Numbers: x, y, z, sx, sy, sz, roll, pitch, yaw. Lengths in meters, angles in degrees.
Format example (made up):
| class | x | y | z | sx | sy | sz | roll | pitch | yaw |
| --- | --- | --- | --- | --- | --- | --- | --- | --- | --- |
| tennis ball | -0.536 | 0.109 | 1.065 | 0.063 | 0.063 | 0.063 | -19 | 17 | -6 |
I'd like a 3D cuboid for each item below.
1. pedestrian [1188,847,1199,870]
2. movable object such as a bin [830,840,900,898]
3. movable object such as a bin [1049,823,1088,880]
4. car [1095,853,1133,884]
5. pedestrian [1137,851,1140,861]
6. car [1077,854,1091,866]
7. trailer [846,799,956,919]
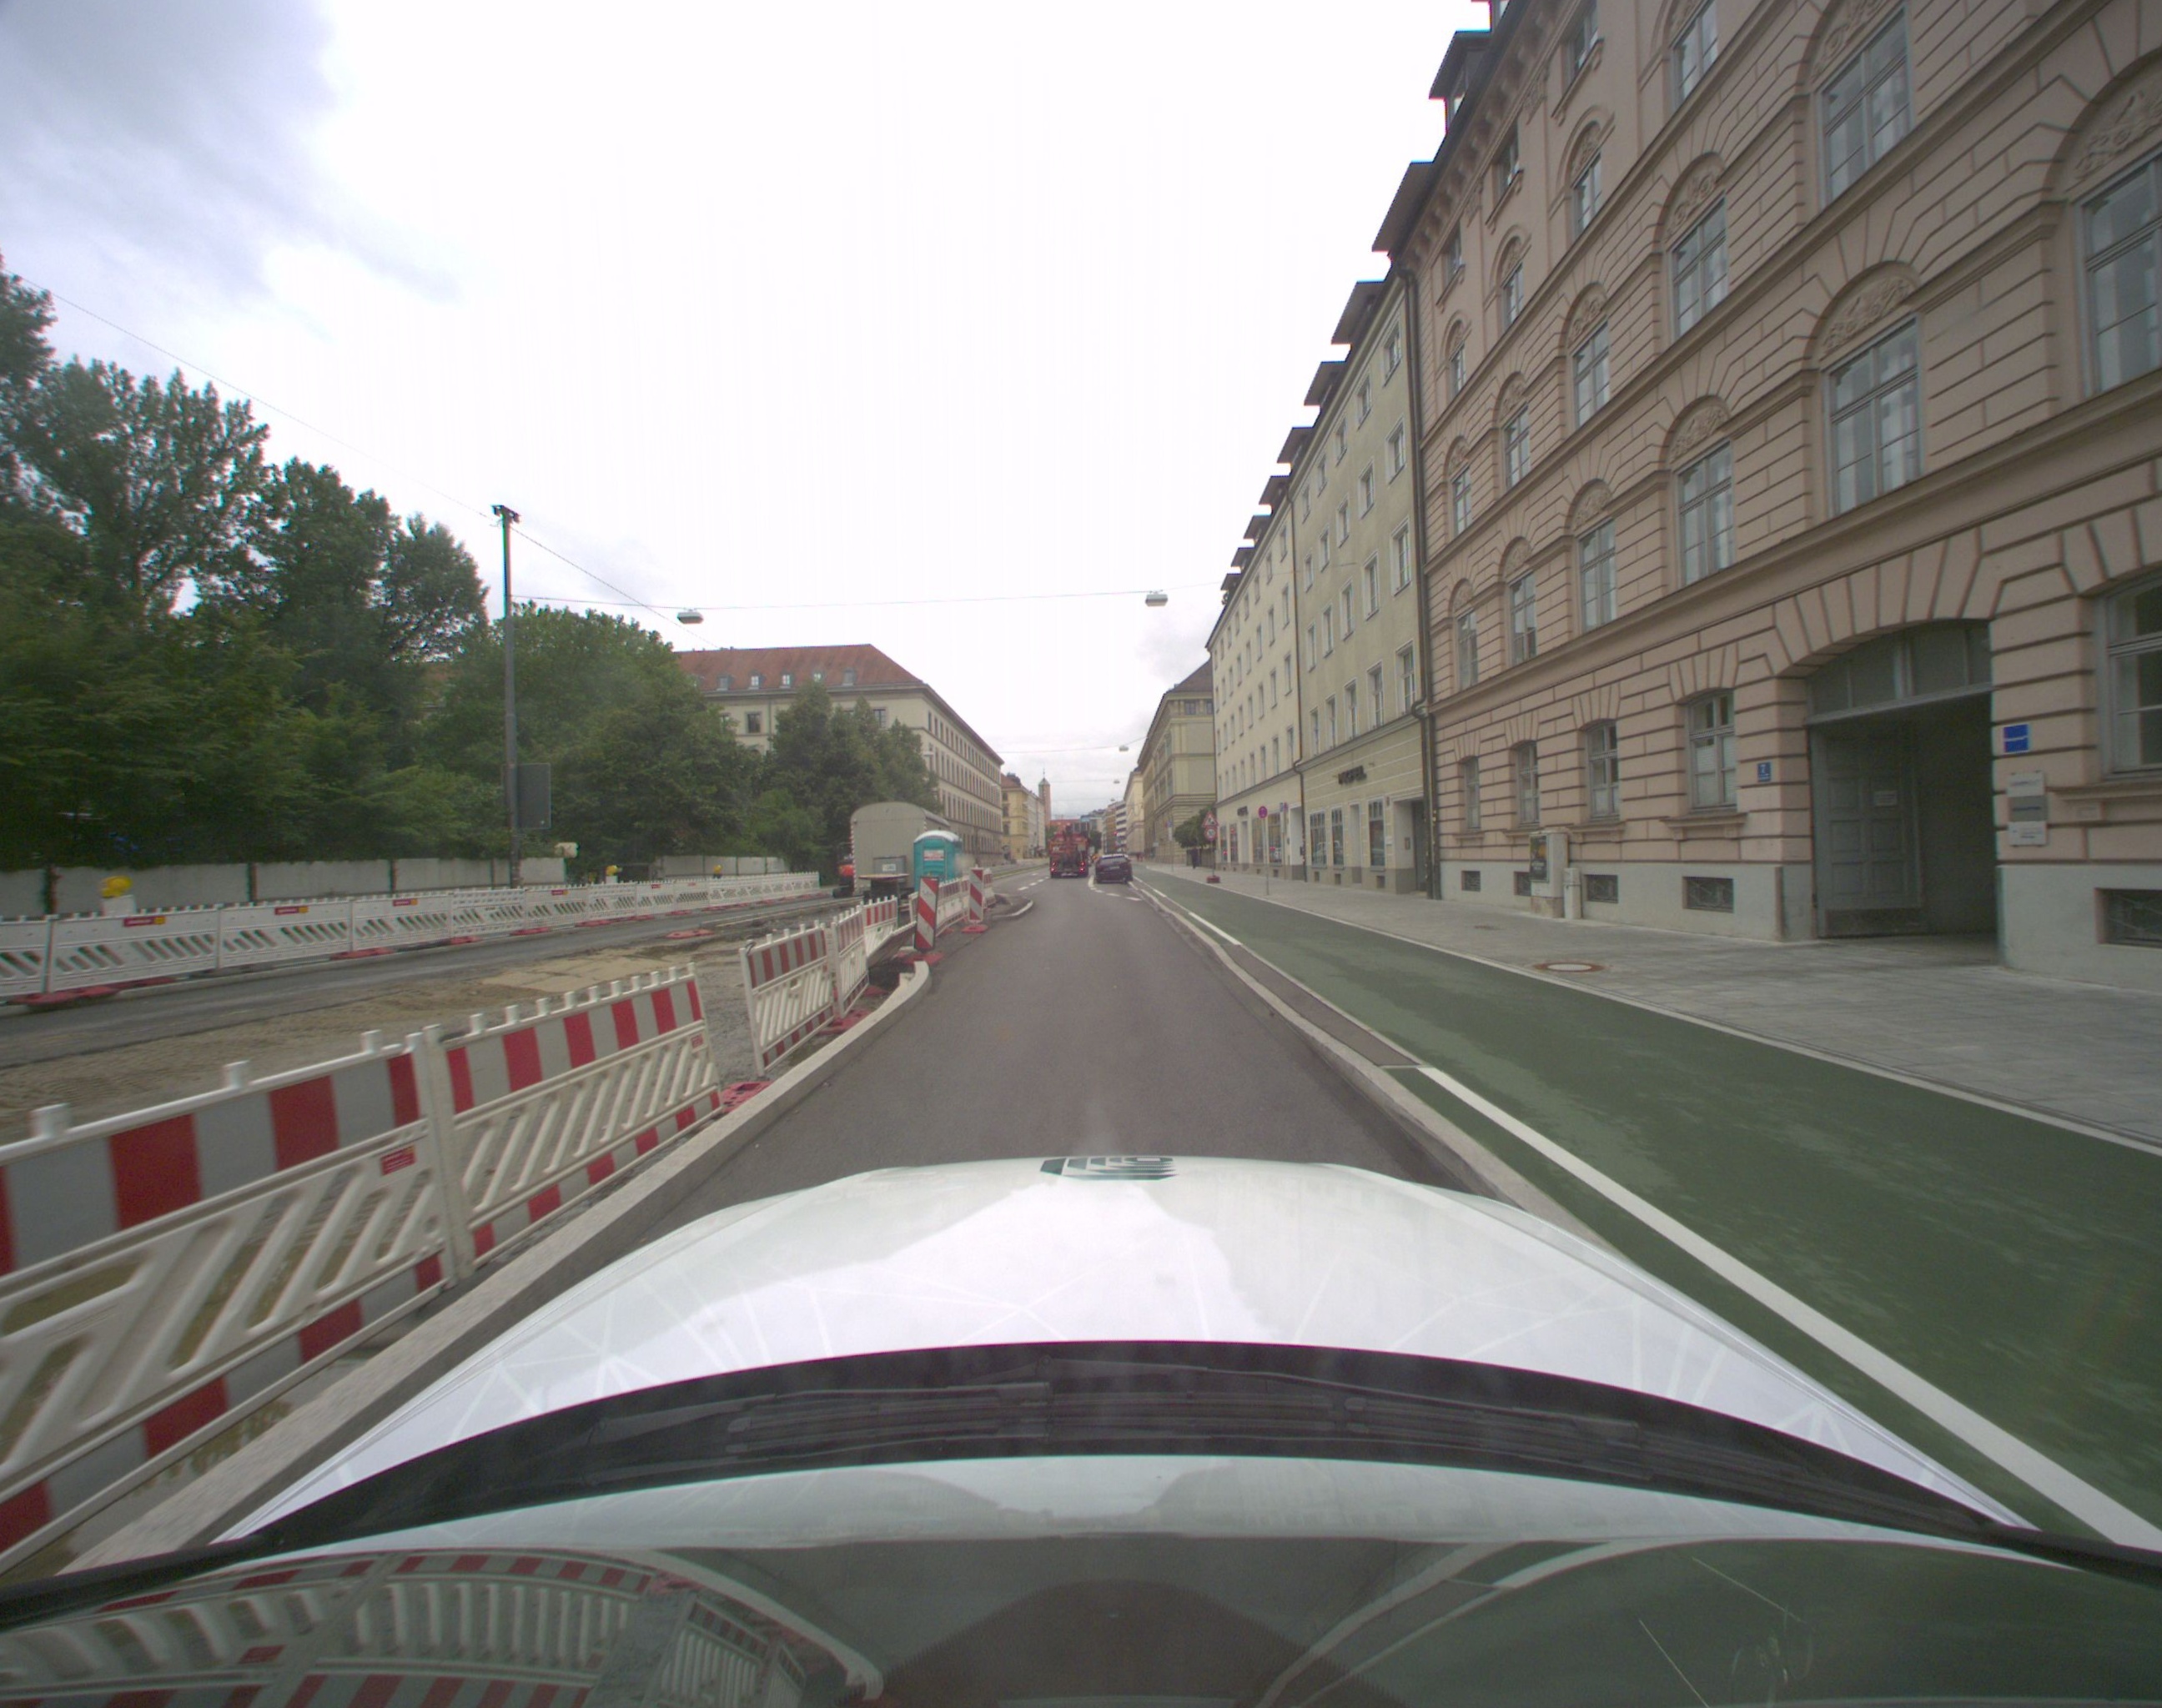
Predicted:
| class | x | y | z | sx | sy | sz | roll | pitch | yaw |
| --- | --- | --- | --- | --- | --- | --- | --- | --- | --- |
| pedestrian | 9.389 | 0.381 | 67.925 | 0.787 | 1.836 | 0.777 | -2 | 0 | 2 |
| movable object such as a bin | -10.183 | 0.671 | 38.722 | 1.916 | 2.572 | 4.495 | -1 | 0 | 3 |
| movable object such as a bin | -0.791 | -0.175 | 55.293 | 2.415 | 3.611 | 5.851 | -1 | 0 | 0 |
| car | 1.720 | 0.731 | 43.464 | 1.796 | 1.480 | 4.686 | -2 | 0 | 0 |
| pedestrian | 9.858 | 0.364 | 139.614 | 0.336 | 1.672 | 0.440 | -2 | 0 | 2 |
| car | 0.404 | 0.730 | 102.054 | 1.604 | 1.495 | 3.425 | -2 | 0 | 1 |
| trailer | -5.551 | 0.140 | 26.317 | 2.222 | 3.243 | 7.509 | -2 | 0 | -3 |
